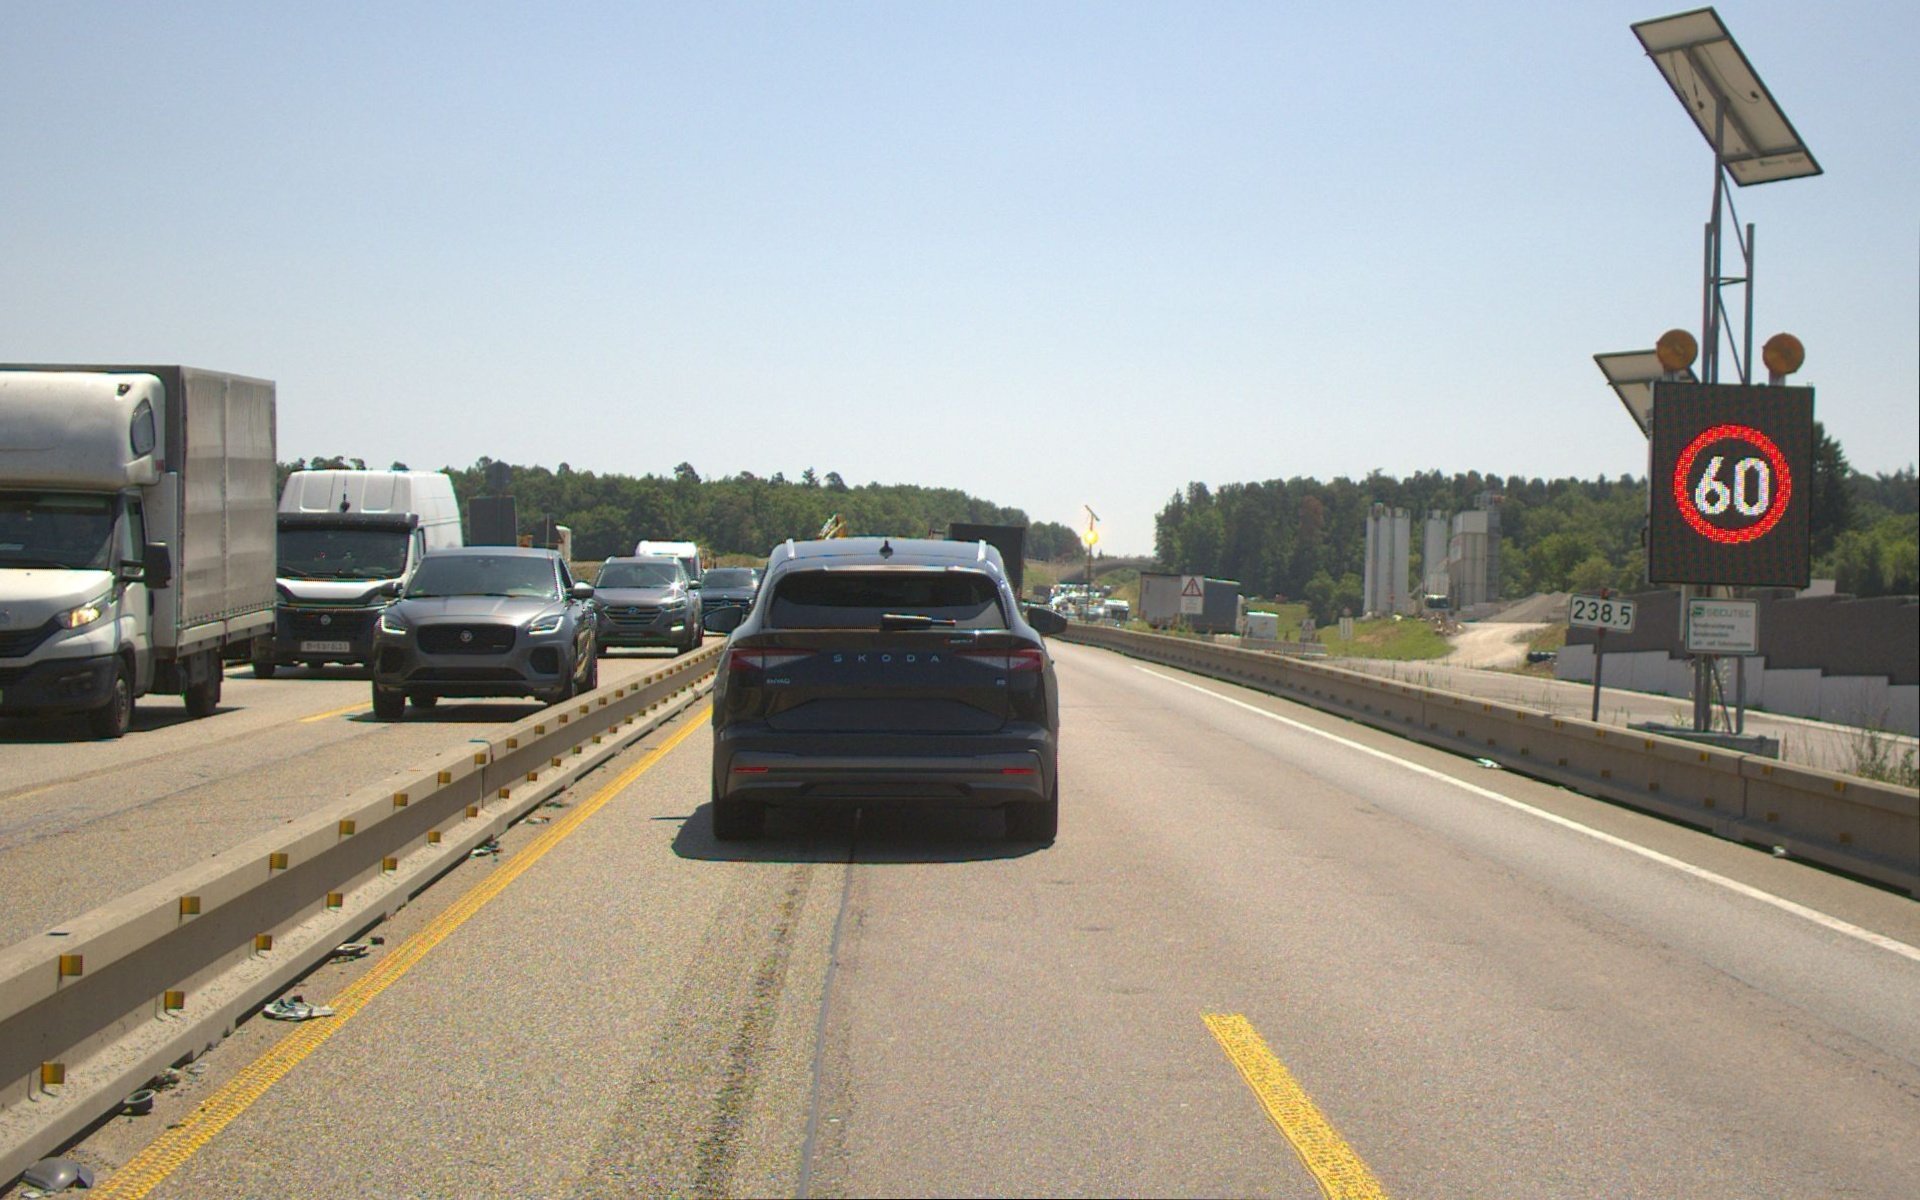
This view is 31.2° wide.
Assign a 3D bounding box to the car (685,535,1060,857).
[{"bbox_3d":[-0.448,0.442,19.158,1.842,1.576,4.000,1,1,0],"label":"car"}]

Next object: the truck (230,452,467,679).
[{"bbox_3d":[-8.054,-0.475,45.905,2.239,2.777,6.493,1,1,-3],"label":"truck"}]

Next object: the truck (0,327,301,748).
[{"bbox_3d":[-7.900,-0.569,31.000,2.495,3.280,8.118,1,1,-1],"label":"truck"}]

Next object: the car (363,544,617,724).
[{"bbox_3d":[-4.569,0.277,34.054,1.942,1.653,4.745,0,1,-1],"label":"car"}]

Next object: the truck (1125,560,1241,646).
[{"bbox_3d":[12.923,0.246,197.751,3.479,4.206,10.365,7,0,20],"label":"truck"}]

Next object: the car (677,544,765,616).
[{"bbox_3d":[-5.715,-0.492,82.527,1.845,1.635,4.000,1,1,-1],"label":"car"}]

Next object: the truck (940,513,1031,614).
[{"bbox_3d":[0.753,-1.130,105.493,2.673,2.935,5.621,1,1,0],"label":"truck"}]

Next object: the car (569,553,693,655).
[{"bbox_3d":[-5.447,0.040,57.319,1.938,1.605,4.001,1,1,-4],"label":"car"}]

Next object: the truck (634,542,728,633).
[{"bbox_3d":[-9.027,-0.389,111.929,2.480,2.815,8.129,1,0,-1],"label":"truck"}]

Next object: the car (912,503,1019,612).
[{"bbox_3d":[0.292,-1.733,145.739,3.437,4.087,9.195,6,0,5],"label":"car"}]

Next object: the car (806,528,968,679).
[{"bbox_3d":[-1.018,0.046,46.249,1.993,1.838,4.000,3,0,-2],"label":"car"}]
